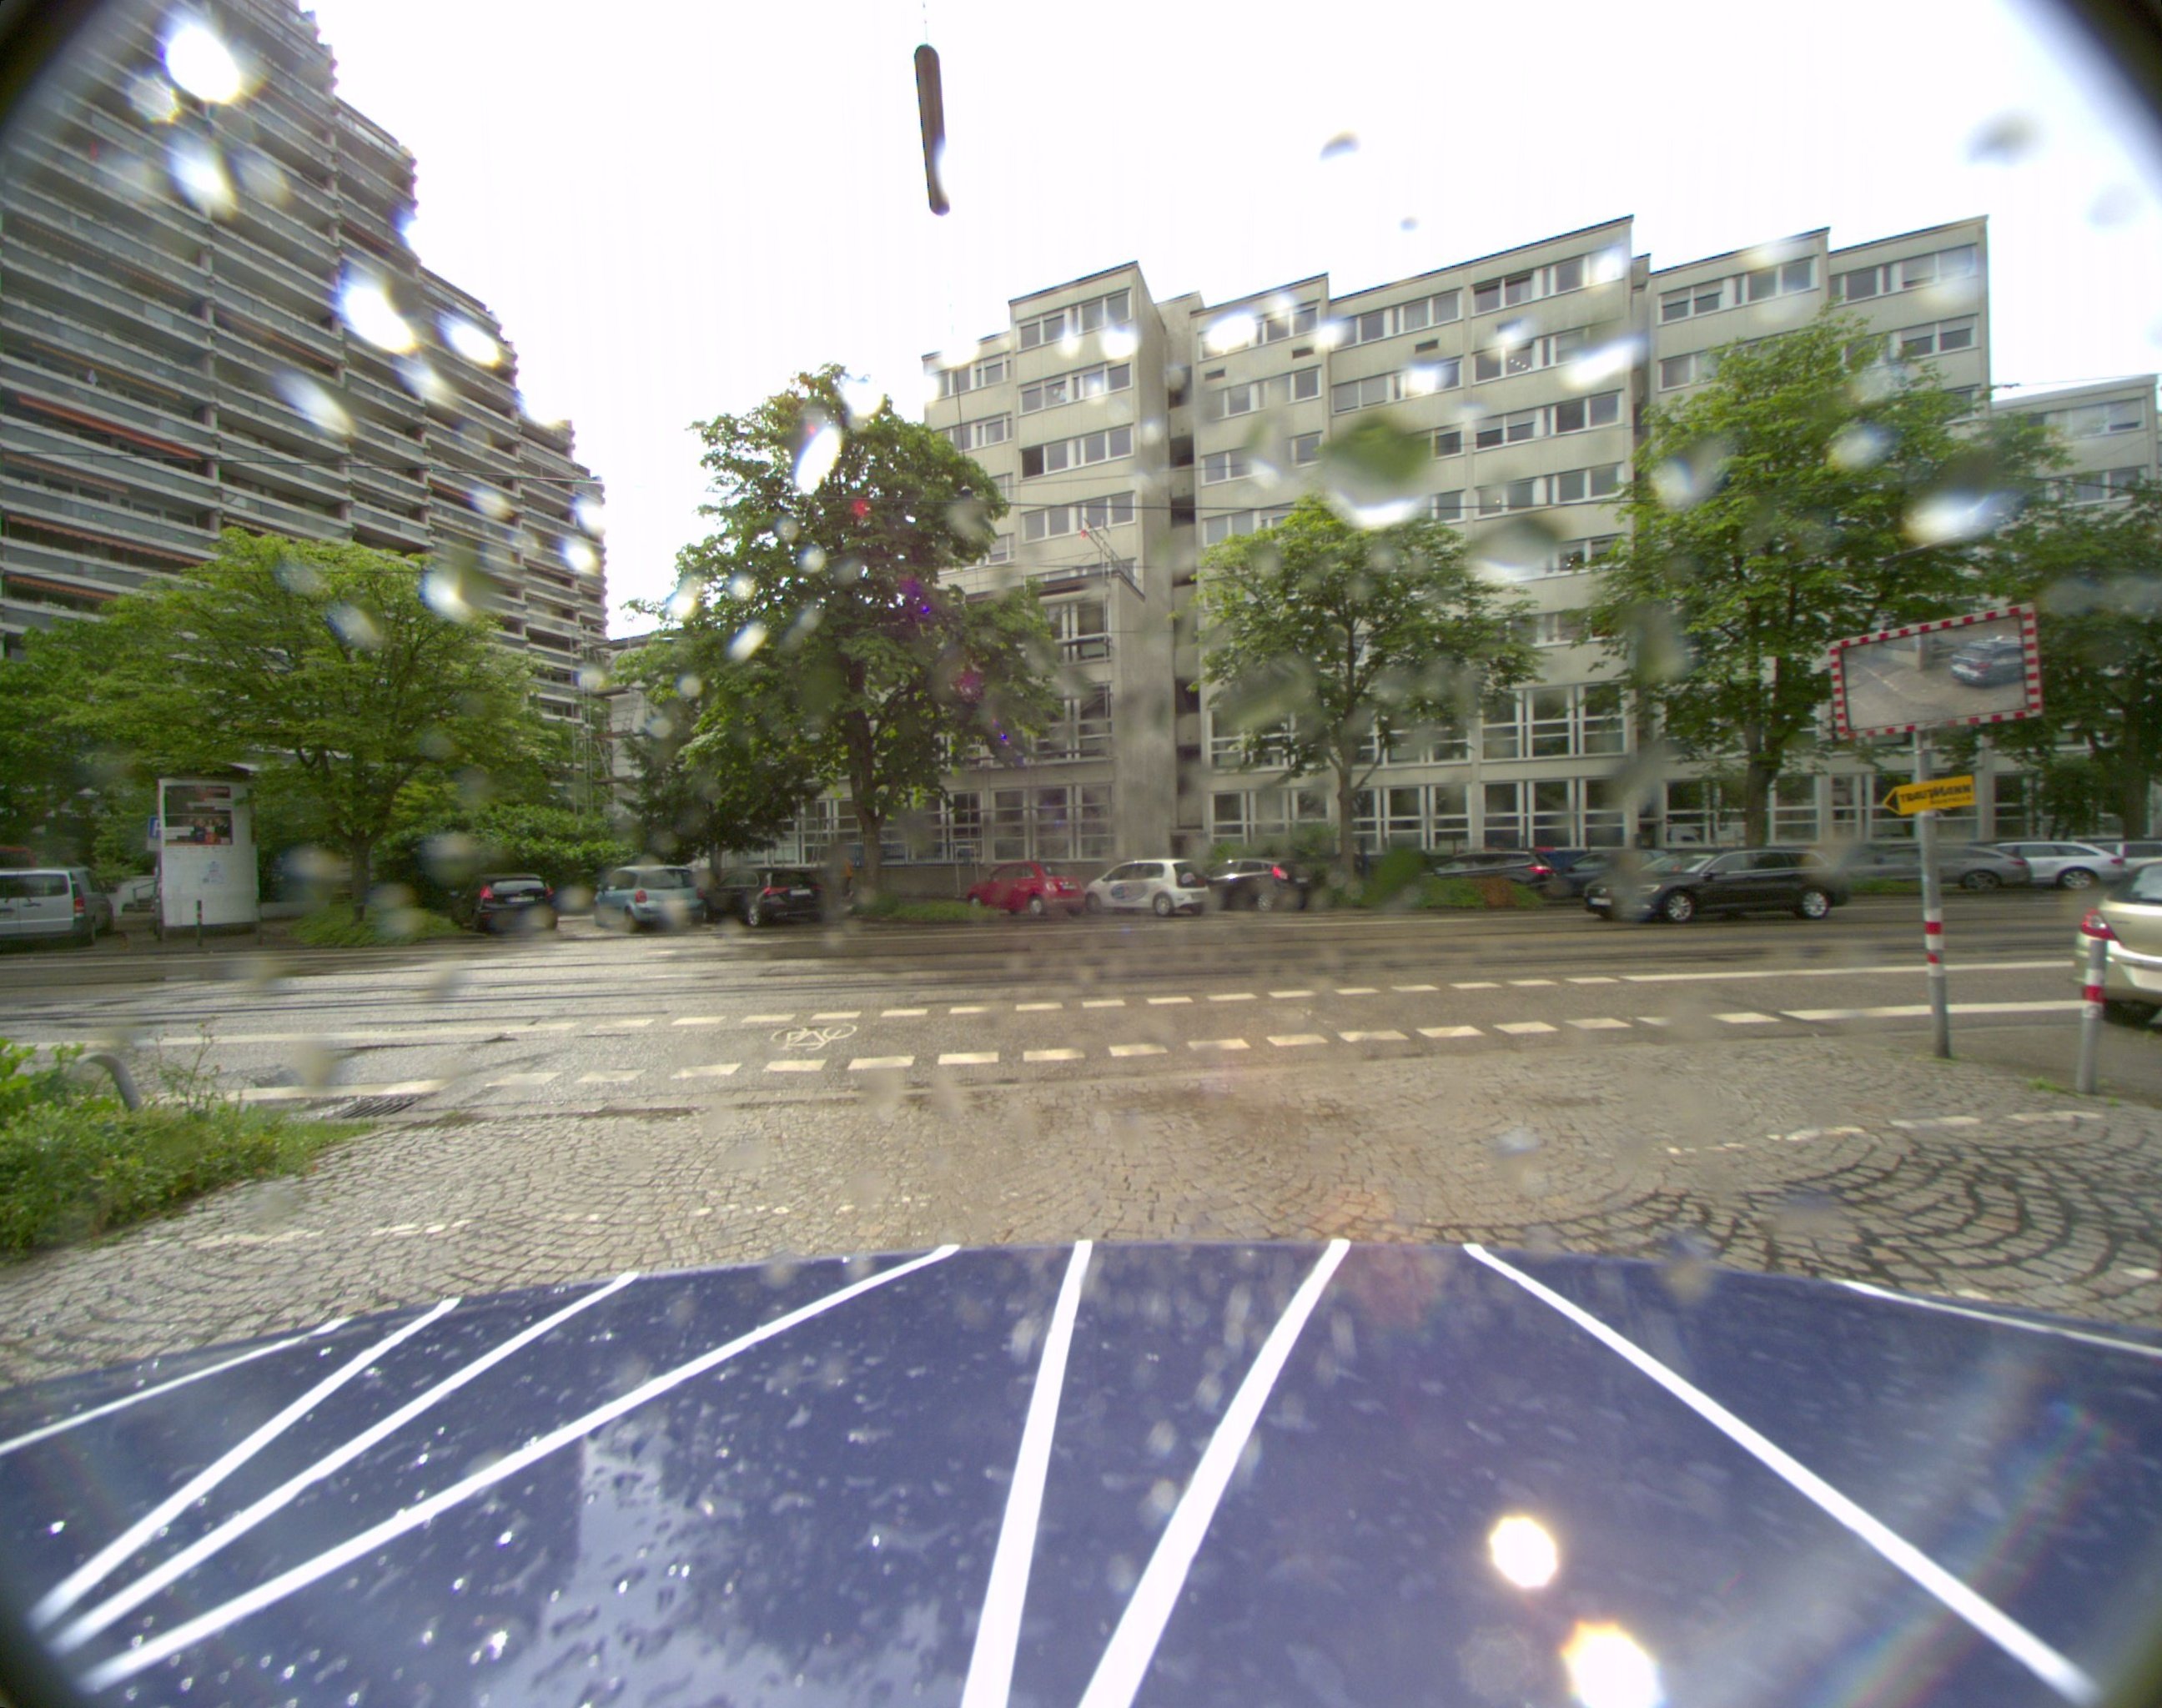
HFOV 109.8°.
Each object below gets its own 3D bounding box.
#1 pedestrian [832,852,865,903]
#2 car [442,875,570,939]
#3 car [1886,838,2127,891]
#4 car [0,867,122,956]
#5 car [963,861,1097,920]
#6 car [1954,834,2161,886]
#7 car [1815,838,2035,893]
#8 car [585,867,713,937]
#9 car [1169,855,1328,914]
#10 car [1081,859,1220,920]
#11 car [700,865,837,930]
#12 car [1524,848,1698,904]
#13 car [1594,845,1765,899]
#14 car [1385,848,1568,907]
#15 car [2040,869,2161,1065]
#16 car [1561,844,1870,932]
[{"bbox_3d":[-8.141,0.812,26.603,0.837,1.732,0.709,-3,-1,45],"label":"pedestrian"},{"bbox_3d":[-14.859,1.293,19.588,3.639,1.389,1.773,-1,1,39],"label":"car"},{"bbox_3d":[27.963,0.347,23.228,4.383,1.444,1.889,-3,-1,41],"label":"car"},{"bbox_3d":[-24.974,1.289,18.336,4.632,1.886,1.942,-1,0,42],"label":"car"},{"bbox_3d":[-1.428,0.932,20.704,3.398,1.461,1.745,-1,0,41],"label":"car"},{"bbox_3d":[30.893,0.206,23.821,4.360,1.444,1.910,-3,-1,41],"label":"car"},{"bbox_3d":[25.045,0.366,22.829,4.195,1.444,1.817,-3,-1,41],"label":"car"},{"bbox_3d":[-11.066,1.140,19.362,3.639,1.542,1.712,-1,1,42],"label":"car"},{"bbox_3d":[4.614,0.832,21.298,1.820,1.472,3.968,-2,0,-43],"label":"car"},{"bbox_3d":[1.824,0.897,20.530,3.398,1.444,1.714,-1,1,44],"label":"car"},{"bbox_3d":[-8.075,1.040,19.512,3.639,1.461,1.745,-1,1,41],"label":"car"},{"bbox_3d":[15.023,0.635,21.619,3.871,1.445,1.826,-3,-2,40],"label":"car"},{"bbox_3d":[17.945,0.564,22.903,3.871,1.445,1.781,-3,-1,40],"label":"car"},{"bbox_3d":[11.361,0.720,21.985,4.359,1.545,1.882,-3,-2,39],"label":"car"},{"bbox_3d":[10.078,0.818,5.720,3.832,1.451,1.690,-1,-1,-5],"label":"car"},{"bbox_3d":[12.629,0.645,15.302,4.762,1.472,1.999,-2,-1,-6],"label":"car"}]
